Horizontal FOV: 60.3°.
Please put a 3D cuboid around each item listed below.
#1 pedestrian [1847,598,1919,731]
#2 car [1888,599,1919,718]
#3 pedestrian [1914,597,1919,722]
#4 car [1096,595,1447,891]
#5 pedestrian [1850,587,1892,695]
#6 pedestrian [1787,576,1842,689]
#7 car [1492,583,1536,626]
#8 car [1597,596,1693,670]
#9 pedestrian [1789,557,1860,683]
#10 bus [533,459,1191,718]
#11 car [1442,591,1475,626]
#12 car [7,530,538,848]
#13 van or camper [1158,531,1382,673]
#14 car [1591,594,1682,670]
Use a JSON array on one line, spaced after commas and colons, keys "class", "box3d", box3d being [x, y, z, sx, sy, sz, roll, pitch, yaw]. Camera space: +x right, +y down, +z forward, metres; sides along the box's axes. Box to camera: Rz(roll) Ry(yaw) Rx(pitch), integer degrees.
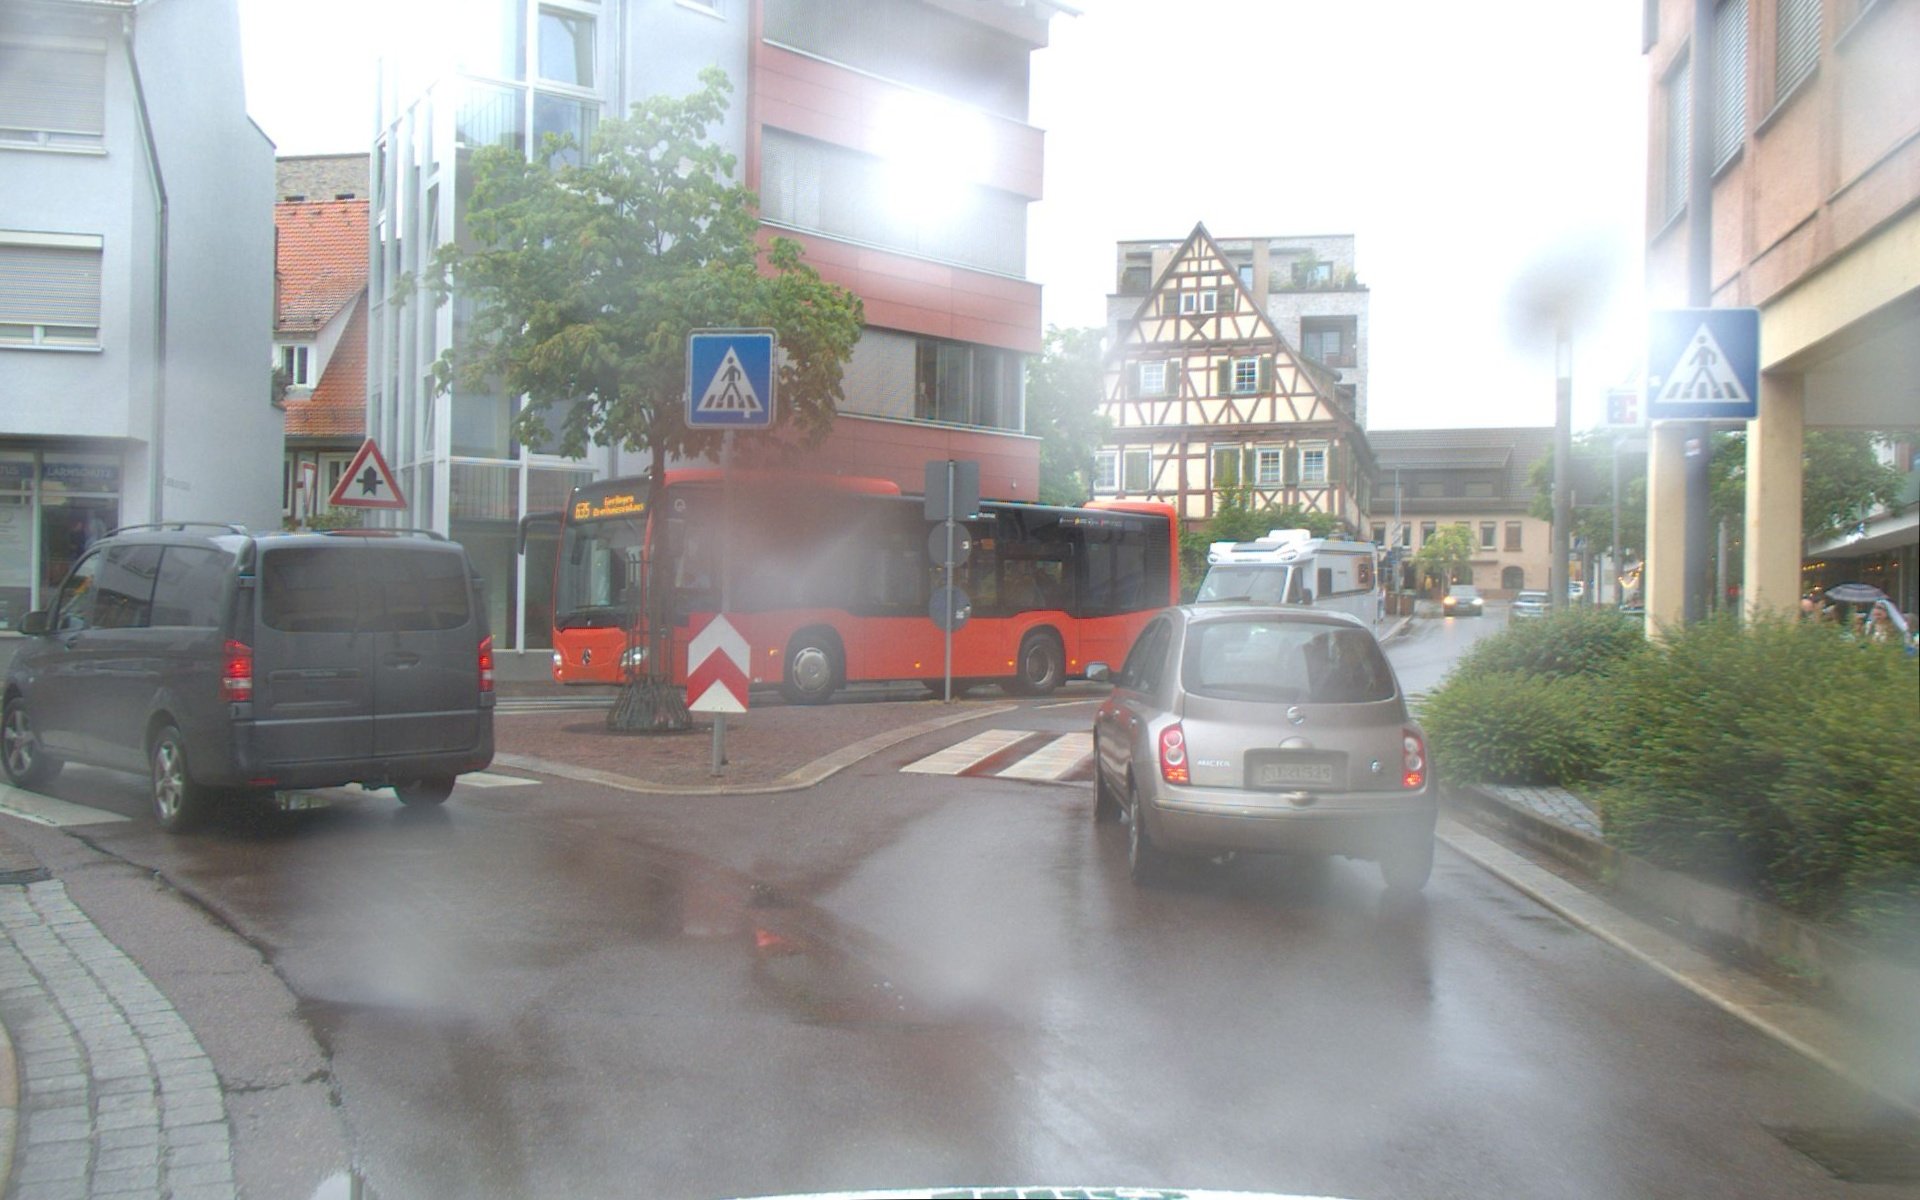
[{"class": "pedestrian", "box3d": [12.340, 0.843, 22.022, 0.725, 1.719, 0.715, 1, -1, -38]}, {"class": "car", "box3d": [11.036, 0.633, 16.701, 1.725, 1.298, 4.475, 0, 0, 13]}, {"class": "pedestrian", "box3d": [13.363, 0.804, 22.069, 0.951, 1.668, 0.729, 0, -1, 44]}, {"class": "car", "box3d": [1.718, 0.719, 10.048, 1.491, 1.496, 3.341, 0, 0, 0]}, {"class": "pedestrian", "box3d": [14.428, 0.638, 26.194, 0.529, 1.692, 0.520, 0, -1, 24]}, {"class": "pedestrian", "box3d": [13.754, 0.517, 26.640, 0.718, 1.779, 0.892, 0, -1, 23]}, {"class": "car", "box3d": [23.056, 0.189, 68.821, 1.640, 1.743, 3.321, 0, -1, 20]}, {"class": "car", "box3d": [15.420, 0.718, 37.380, 1.590, 1.527, 4.002, -2, -1, 17]}, {"class": "pedestrian", "box3d": [11.821, 0.271, 22.614, 0.686, 1.690, 0.816, 0, -1, 41]}, {"class": "bus", "box3d": [-0.956, -0.192, 24.751, 10.520, 3.142, 2.778, -1, 1, -43]}, {"class": "car", "box3d": [25.239, 0.420, 83.713, 1.553, 1.743, 3.322, 0, -1, 18]}, {"class": "car", "box3d": [-5.057, 0.461, 11.779, 1.938, 1.812, 4.650, 1, 1, -44]}, {"class": "van or camper", "box3d": [6.531, 0.054, 34.003, 2.393, 2.631, 6.737, 1, 0, 30]}, {"class": "car", "box3d": [13.204, 0.610, 32.200, 1.506, 1.386, 3.371, 0, -1, 25]}]
